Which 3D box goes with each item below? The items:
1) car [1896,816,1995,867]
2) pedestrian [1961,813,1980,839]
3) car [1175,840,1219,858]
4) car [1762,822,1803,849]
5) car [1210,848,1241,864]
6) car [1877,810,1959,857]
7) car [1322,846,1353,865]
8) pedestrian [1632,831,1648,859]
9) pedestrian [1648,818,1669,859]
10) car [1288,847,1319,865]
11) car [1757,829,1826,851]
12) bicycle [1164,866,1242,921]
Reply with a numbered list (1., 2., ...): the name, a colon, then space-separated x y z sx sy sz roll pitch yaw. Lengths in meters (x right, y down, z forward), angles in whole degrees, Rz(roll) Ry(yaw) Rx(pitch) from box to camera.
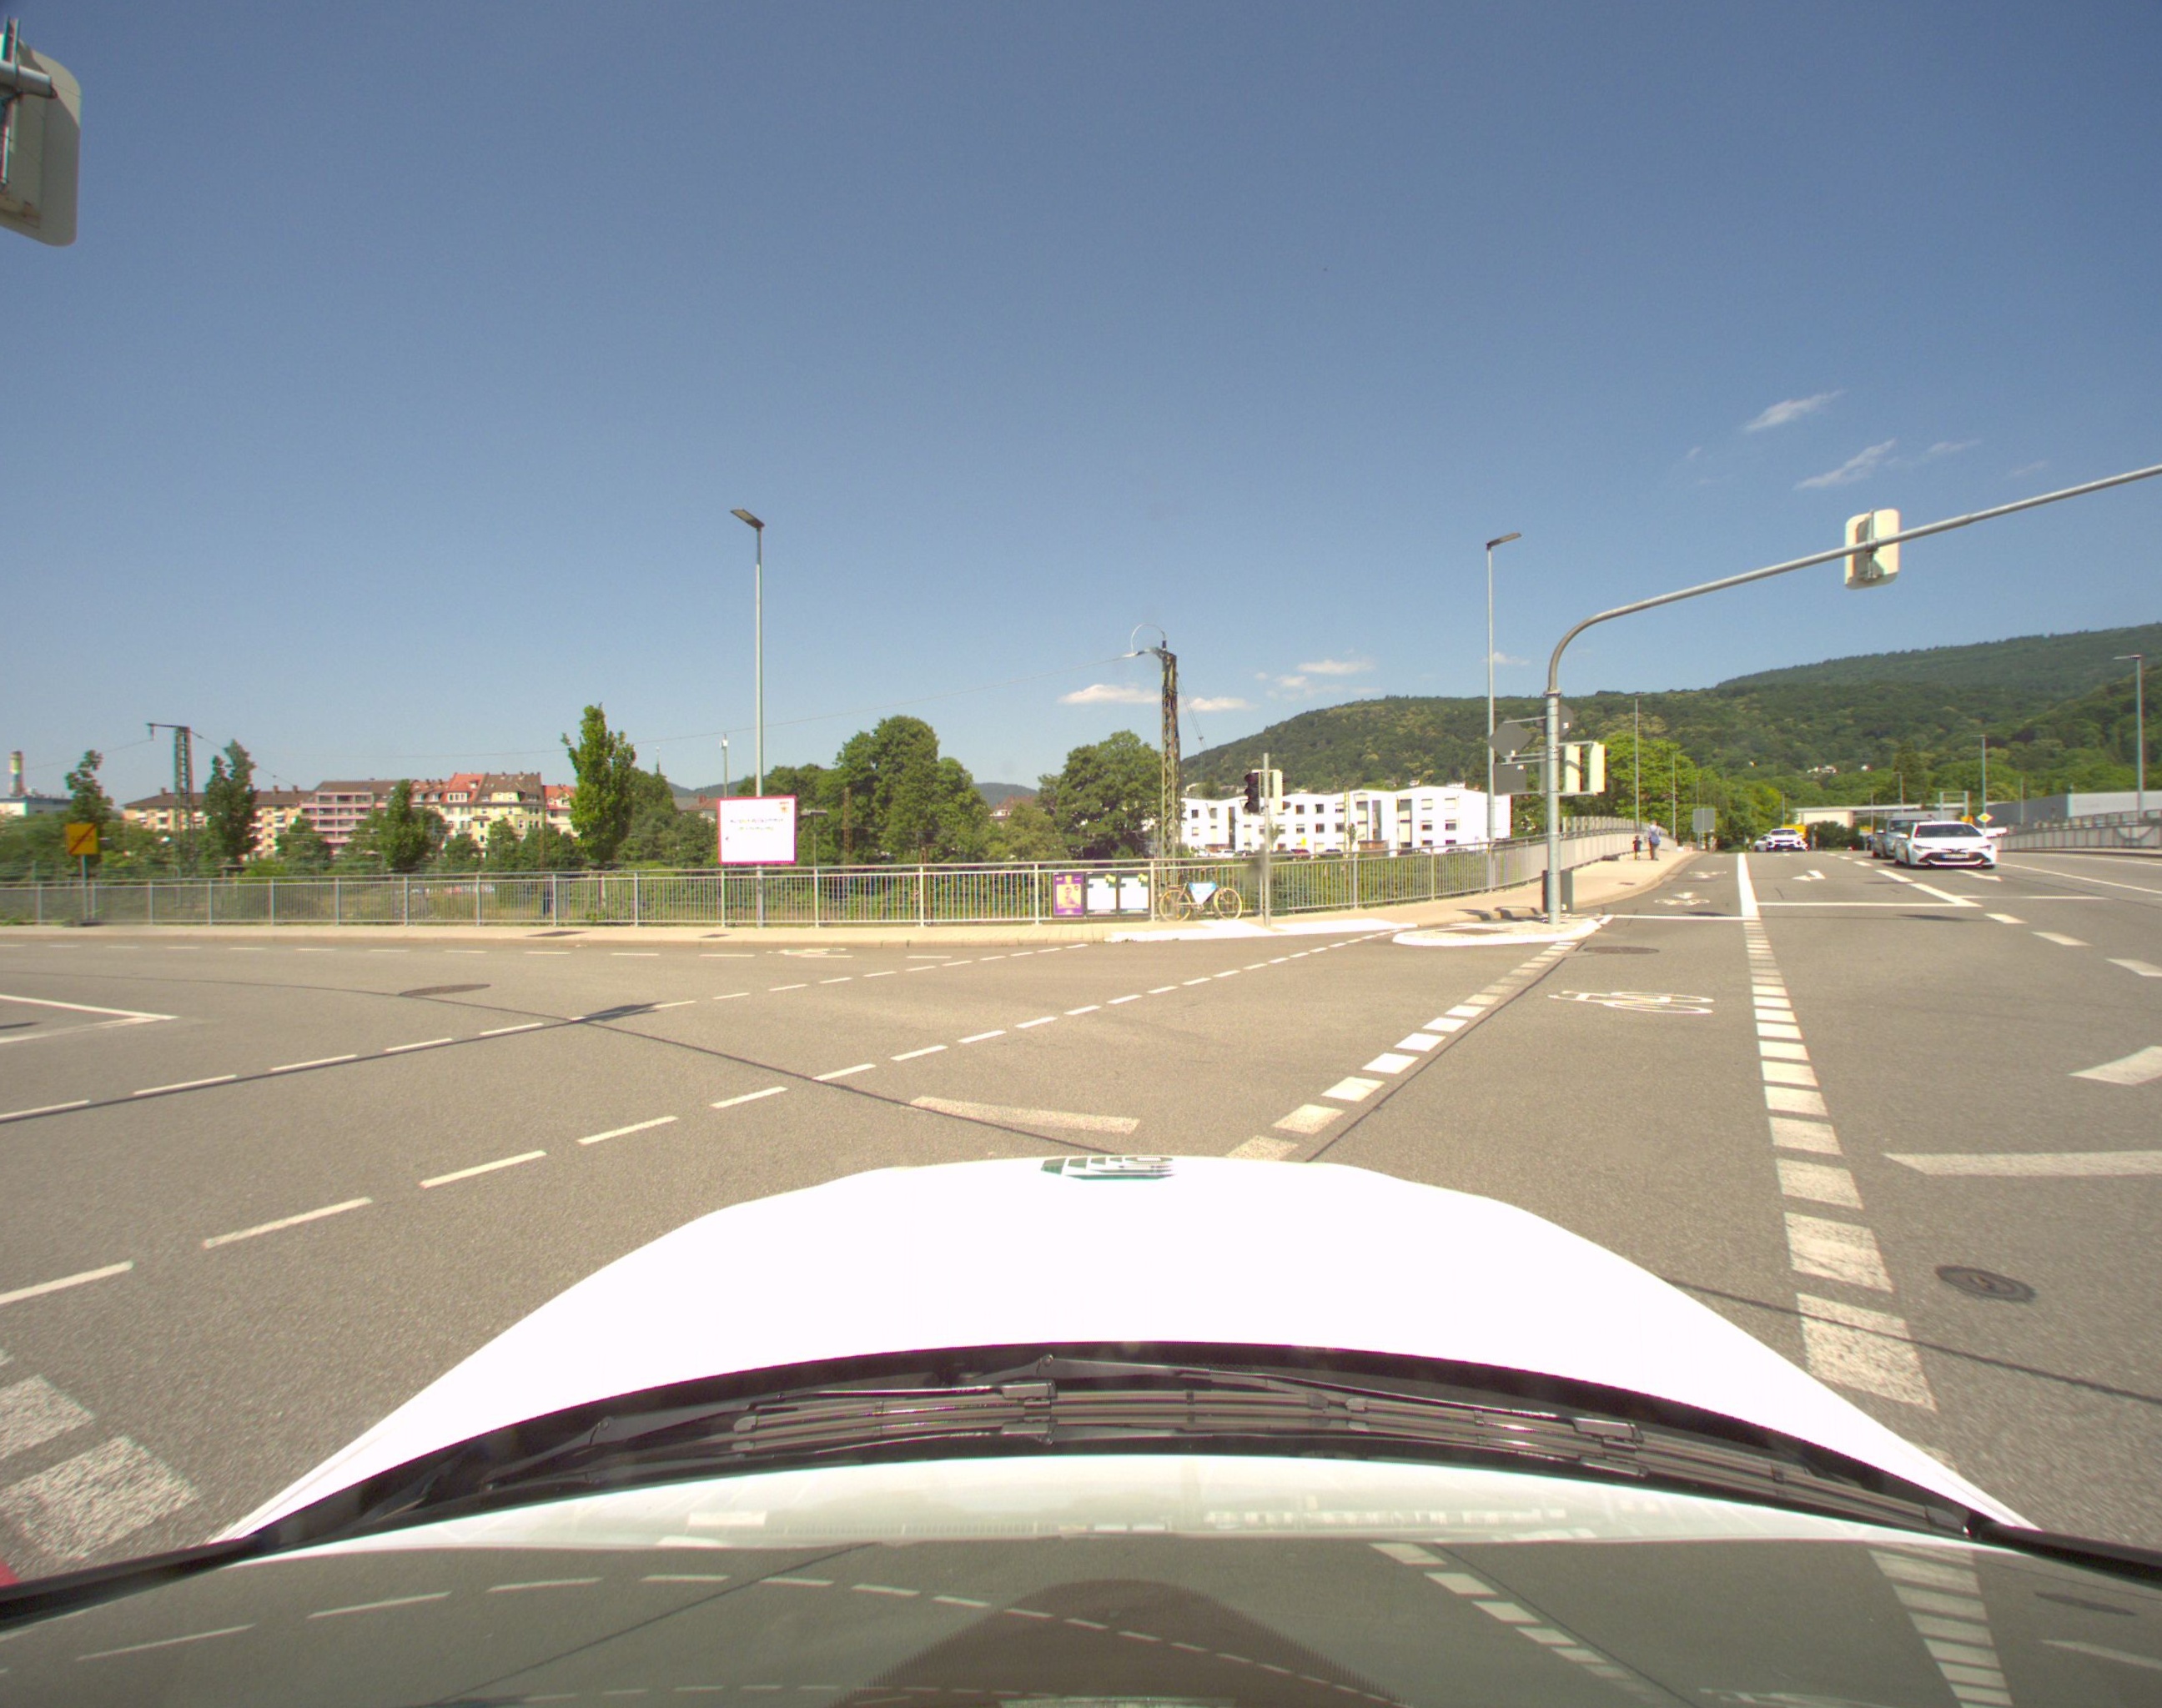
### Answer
1. car: 26.726 -0.397 25.294 1.715 1.469 4.438 -1 1 42
2. pedestrian: 70.309 -2.216 64.356 0.847 2.013 1.163 -1 1 39
3. car: 14.212 -0.581 99.727 4.933 2.112 2.010 -1 1 20
4. car: 48.312 -1.268 56.144 1.974 1.719 4.662 -1 1 39
5. car: 18.462 0.241 103.862 1.974 2.013 4.499 -1 1 37
6. car: 31.460 -0.765 30.711 1.714 1.626 4.470 -1 1 40
7. car: 29.325 0.154 93.110 1.974 2.013 4.499 -1 1 37
8. pedestrian: 23.037 -0.378 33.577 0.506 1.121 0.479 -1 1 39
9. pedestrian: 23.611 -0.634 33.304 0.637 1.617 0.927 -1 1 39
10. car: 26.212 0.184 95.784 1.974 2.013 4.499 -1 1 37
11. car: 59.767 -1.200 68.604 1.981 1.719 5.076 -1 1 9
12. bicycle: 2.582 0.829 17.295 1.615 1.100 0.297 -1 0 -11
